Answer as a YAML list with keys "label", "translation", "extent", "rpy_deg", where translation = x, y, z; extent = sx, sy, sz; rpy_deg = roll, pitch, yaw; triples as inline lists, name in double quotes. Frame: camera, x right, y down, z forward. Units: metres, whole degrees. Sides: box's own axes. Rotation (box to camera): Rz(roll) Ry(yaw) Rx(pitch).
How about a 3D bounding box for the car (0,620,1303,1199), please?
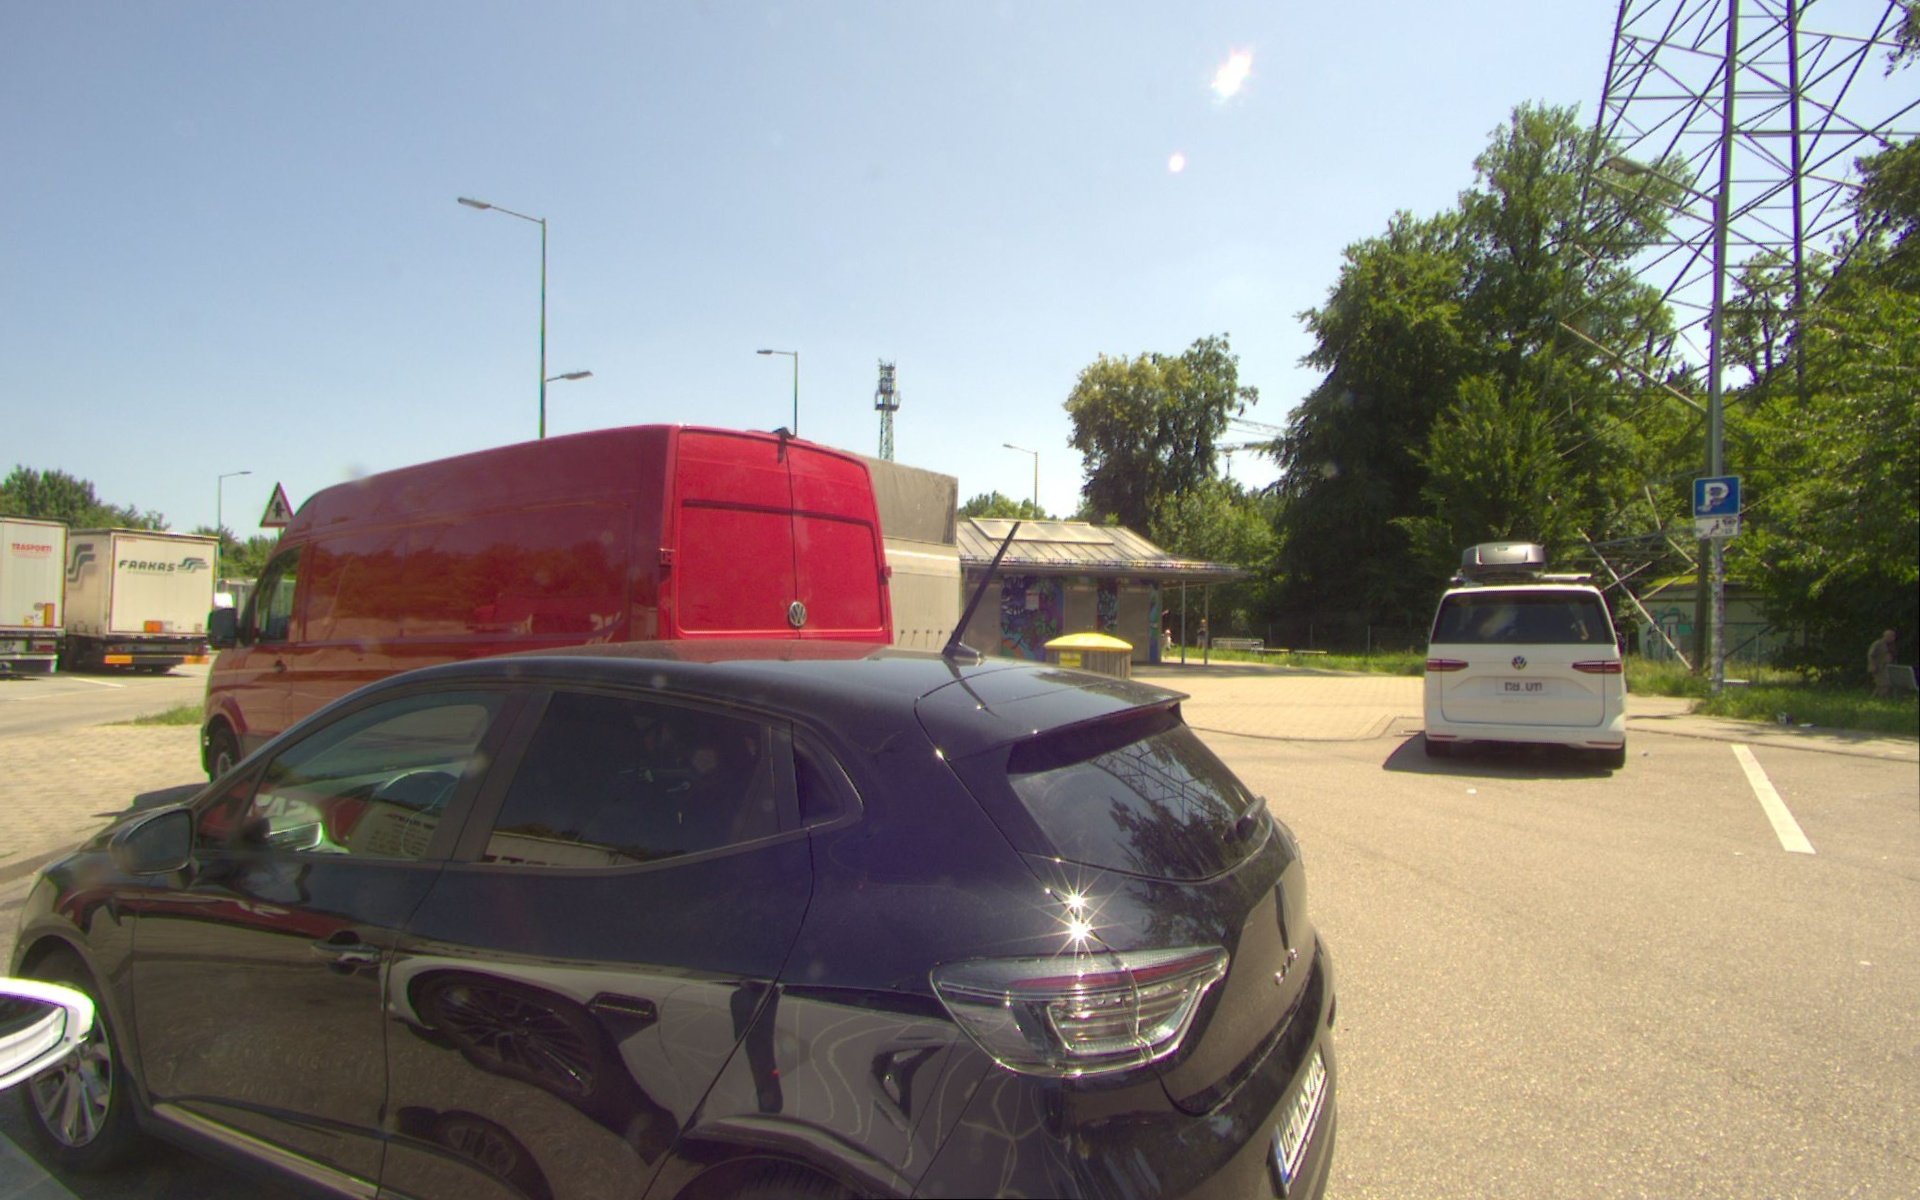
- label: "car"
  translation: [-1.082, 0.840, 2.850]
  extent: [3.706, 1.503, 1.615]
  rpy_deg: [0, -1, 27]

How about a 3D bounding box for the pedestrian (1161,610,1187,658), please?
- label: "pedestrian"
  translation: [7.995, 1.283, 37.512]
  extent: [0.708, 1.773, 0.739]
  rpy_deg: [1, 0, -10]

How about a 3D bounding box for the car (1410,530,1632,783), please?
- label: "car"
  translation: [6.516, 0.575, 11.565]
  extent: [1.892, 2.354, 4.074]
  rpy_deg: [-1, -1, 32]

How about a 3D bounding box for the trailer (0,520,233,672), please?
- label: "trailer"
  translation: [-27.322, -0.198, 31.464]
  extent: [12.255, 4.090, 2.862]
  rpy_deg: [2, -1, 33]

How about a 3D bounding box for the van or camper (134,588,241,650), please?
- label: "van or camper"
  translation: [-33.919, 0.822, 43.909]
  extent: [5.296, 2.595, 2.100]
  rpy_deg: [0, -1, 34]

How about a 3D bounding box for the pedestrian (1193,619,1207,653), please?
- label: "pedestrian"
  translation: [10.940, 1.625, 45.637]
  extent: [0.582, 1.536, 0.588]
  rpy_deg: [1, 0, 13]

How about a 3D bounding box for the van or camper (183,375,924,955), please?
- label: "van or camper"
  translation: [-3.389, 0.329, 7.357]
  extent: [6.394, 2.688, 1.990]
  rpy_deg: [0, -1, 36]

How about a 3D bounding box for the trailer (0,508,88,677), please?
- label: "trailer"
  translation: [-28.382, -0.329, 27.799]
  extent: [12.255, 4.090, 2.862]
  rpy_deg: [2, -1, 33]

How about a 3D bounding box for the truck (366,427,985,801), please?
- label: "truck"
  translation: [-3.285, 0.138, 10.563]
  extent: [6.874, 2.828, 2.460]
  rpy_deg: [0, -1, 35]

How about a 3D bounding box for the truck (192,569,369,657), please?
- label: "truck"
  translation: [-31.724, 0.508, 46.475]
  extent: [11.255, 3.615, 2.484]
  rpy_deg: [2, -1, 33]

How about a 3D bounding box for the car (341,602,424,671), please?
- label: "car"
  translation: [-19.874, 1.216, 34.659]
  extent: [1.969, 2.178, 5.293]
  rpy_deg: [1, -1, -24]

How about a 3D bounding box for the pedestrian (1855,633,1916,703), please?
- label: "pedestrian"
  translation: [18.904, 1.370, 20.467]
  extent: [0.695, 1.392, 0.607]
  rpy_deg: [1, 0, 11]

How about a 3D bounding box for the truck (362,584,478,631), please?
- label: "truck"
  translation: [-34.757, 0.468, 64.276]
  extent: [9.637, 2.857, 2.121]
  rpy_deg: [0, -1, 32]
